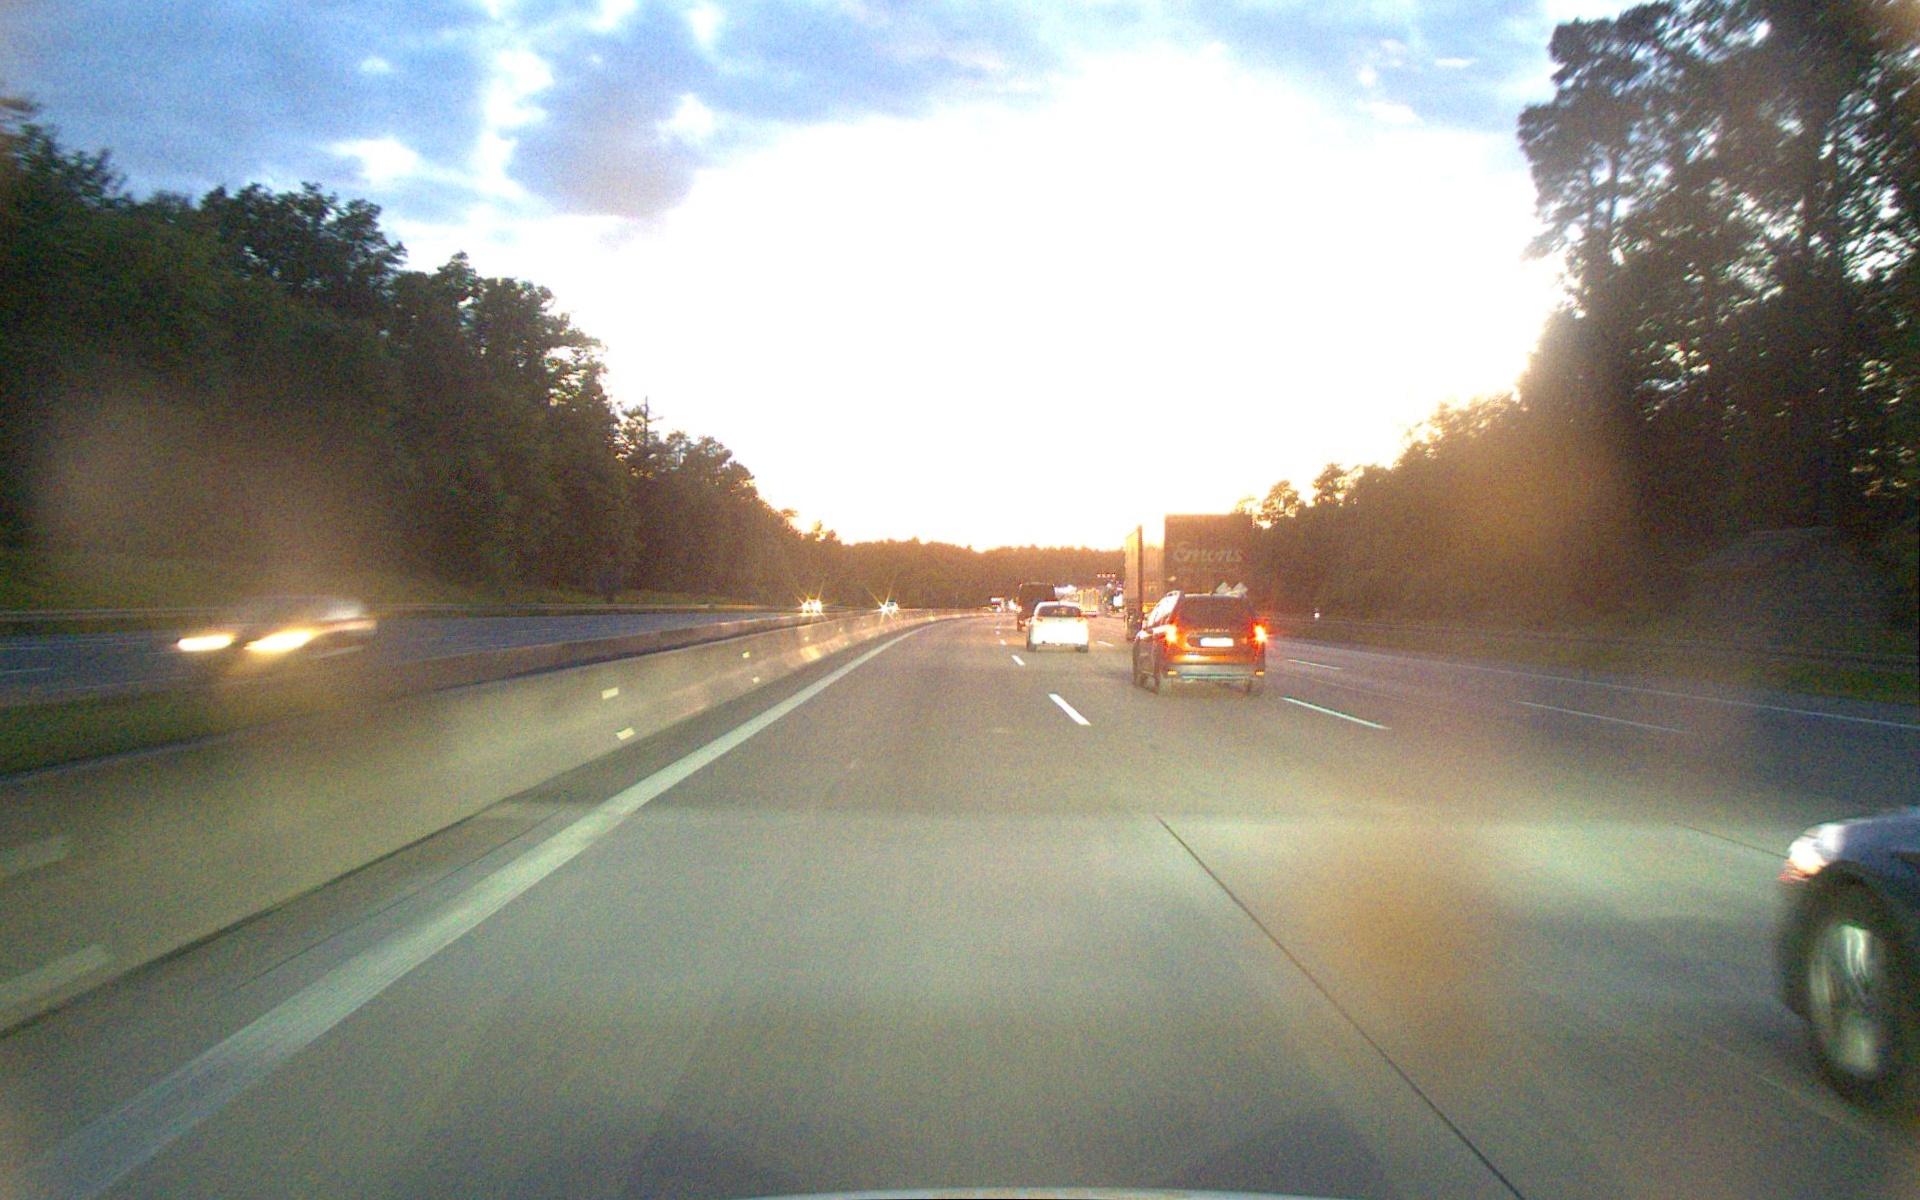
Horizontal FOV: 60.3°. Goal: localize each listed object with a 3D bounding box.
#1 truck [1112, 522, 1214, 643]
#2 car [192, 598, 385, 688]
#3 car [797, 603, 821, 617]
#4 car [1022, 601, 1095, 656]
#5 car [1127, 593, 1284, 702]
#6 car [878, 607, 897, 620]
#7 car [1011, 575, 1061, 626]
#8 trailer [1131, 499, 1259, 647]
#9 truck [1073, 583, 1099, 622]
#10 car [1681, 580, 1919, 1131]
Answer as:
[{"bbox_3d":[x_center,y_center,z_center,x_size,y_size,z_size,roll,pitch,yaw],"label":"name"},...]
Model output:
[{"bbox_3d":[7.539,-0.540,62.843,2.825,4.172,10.833,1,-1,2],"label":"truck"},{"bbox_3d":[-11.454,0.685,28.520,1.585,1.430,4.315,0,0,0],"label":"car"},{"bbox_3d":[-17.184,1.170,188.633,1.803,1.489,4.003,2,0,8],"label":"car"},{"bbox_3d":[2.871,0.809,48.814,1.822,1.467,3.719,0,1,-2],"label":"car"},{"bbox_3d":[4.059,0.733,28.155,1.864,1.672,5.051,0,0,-1],"label":"car"},{"bbox_3d":[-8.995,1.625,204.977,1.804,1.489,4.778,2,0,4],"label":"car"},{"bbox_3d":[3.863,0.050,83.292,2.120,2.461,5.567,0,-1,7],"label":"car"},{"bbox_3d":[7.209,-0.703,52.194,2.847,4.172,10.359,1,-1,2],"label":"trailer"},{"bbox_3d":[20.135,0.451,263.481,4.061,5.959,14.303,0,-1,5],"label":"truck"},{"bbox_3d":[3.722,0.770,3.631,1.870,1.564,5.230,0,1,-2],"label":"car"}]
